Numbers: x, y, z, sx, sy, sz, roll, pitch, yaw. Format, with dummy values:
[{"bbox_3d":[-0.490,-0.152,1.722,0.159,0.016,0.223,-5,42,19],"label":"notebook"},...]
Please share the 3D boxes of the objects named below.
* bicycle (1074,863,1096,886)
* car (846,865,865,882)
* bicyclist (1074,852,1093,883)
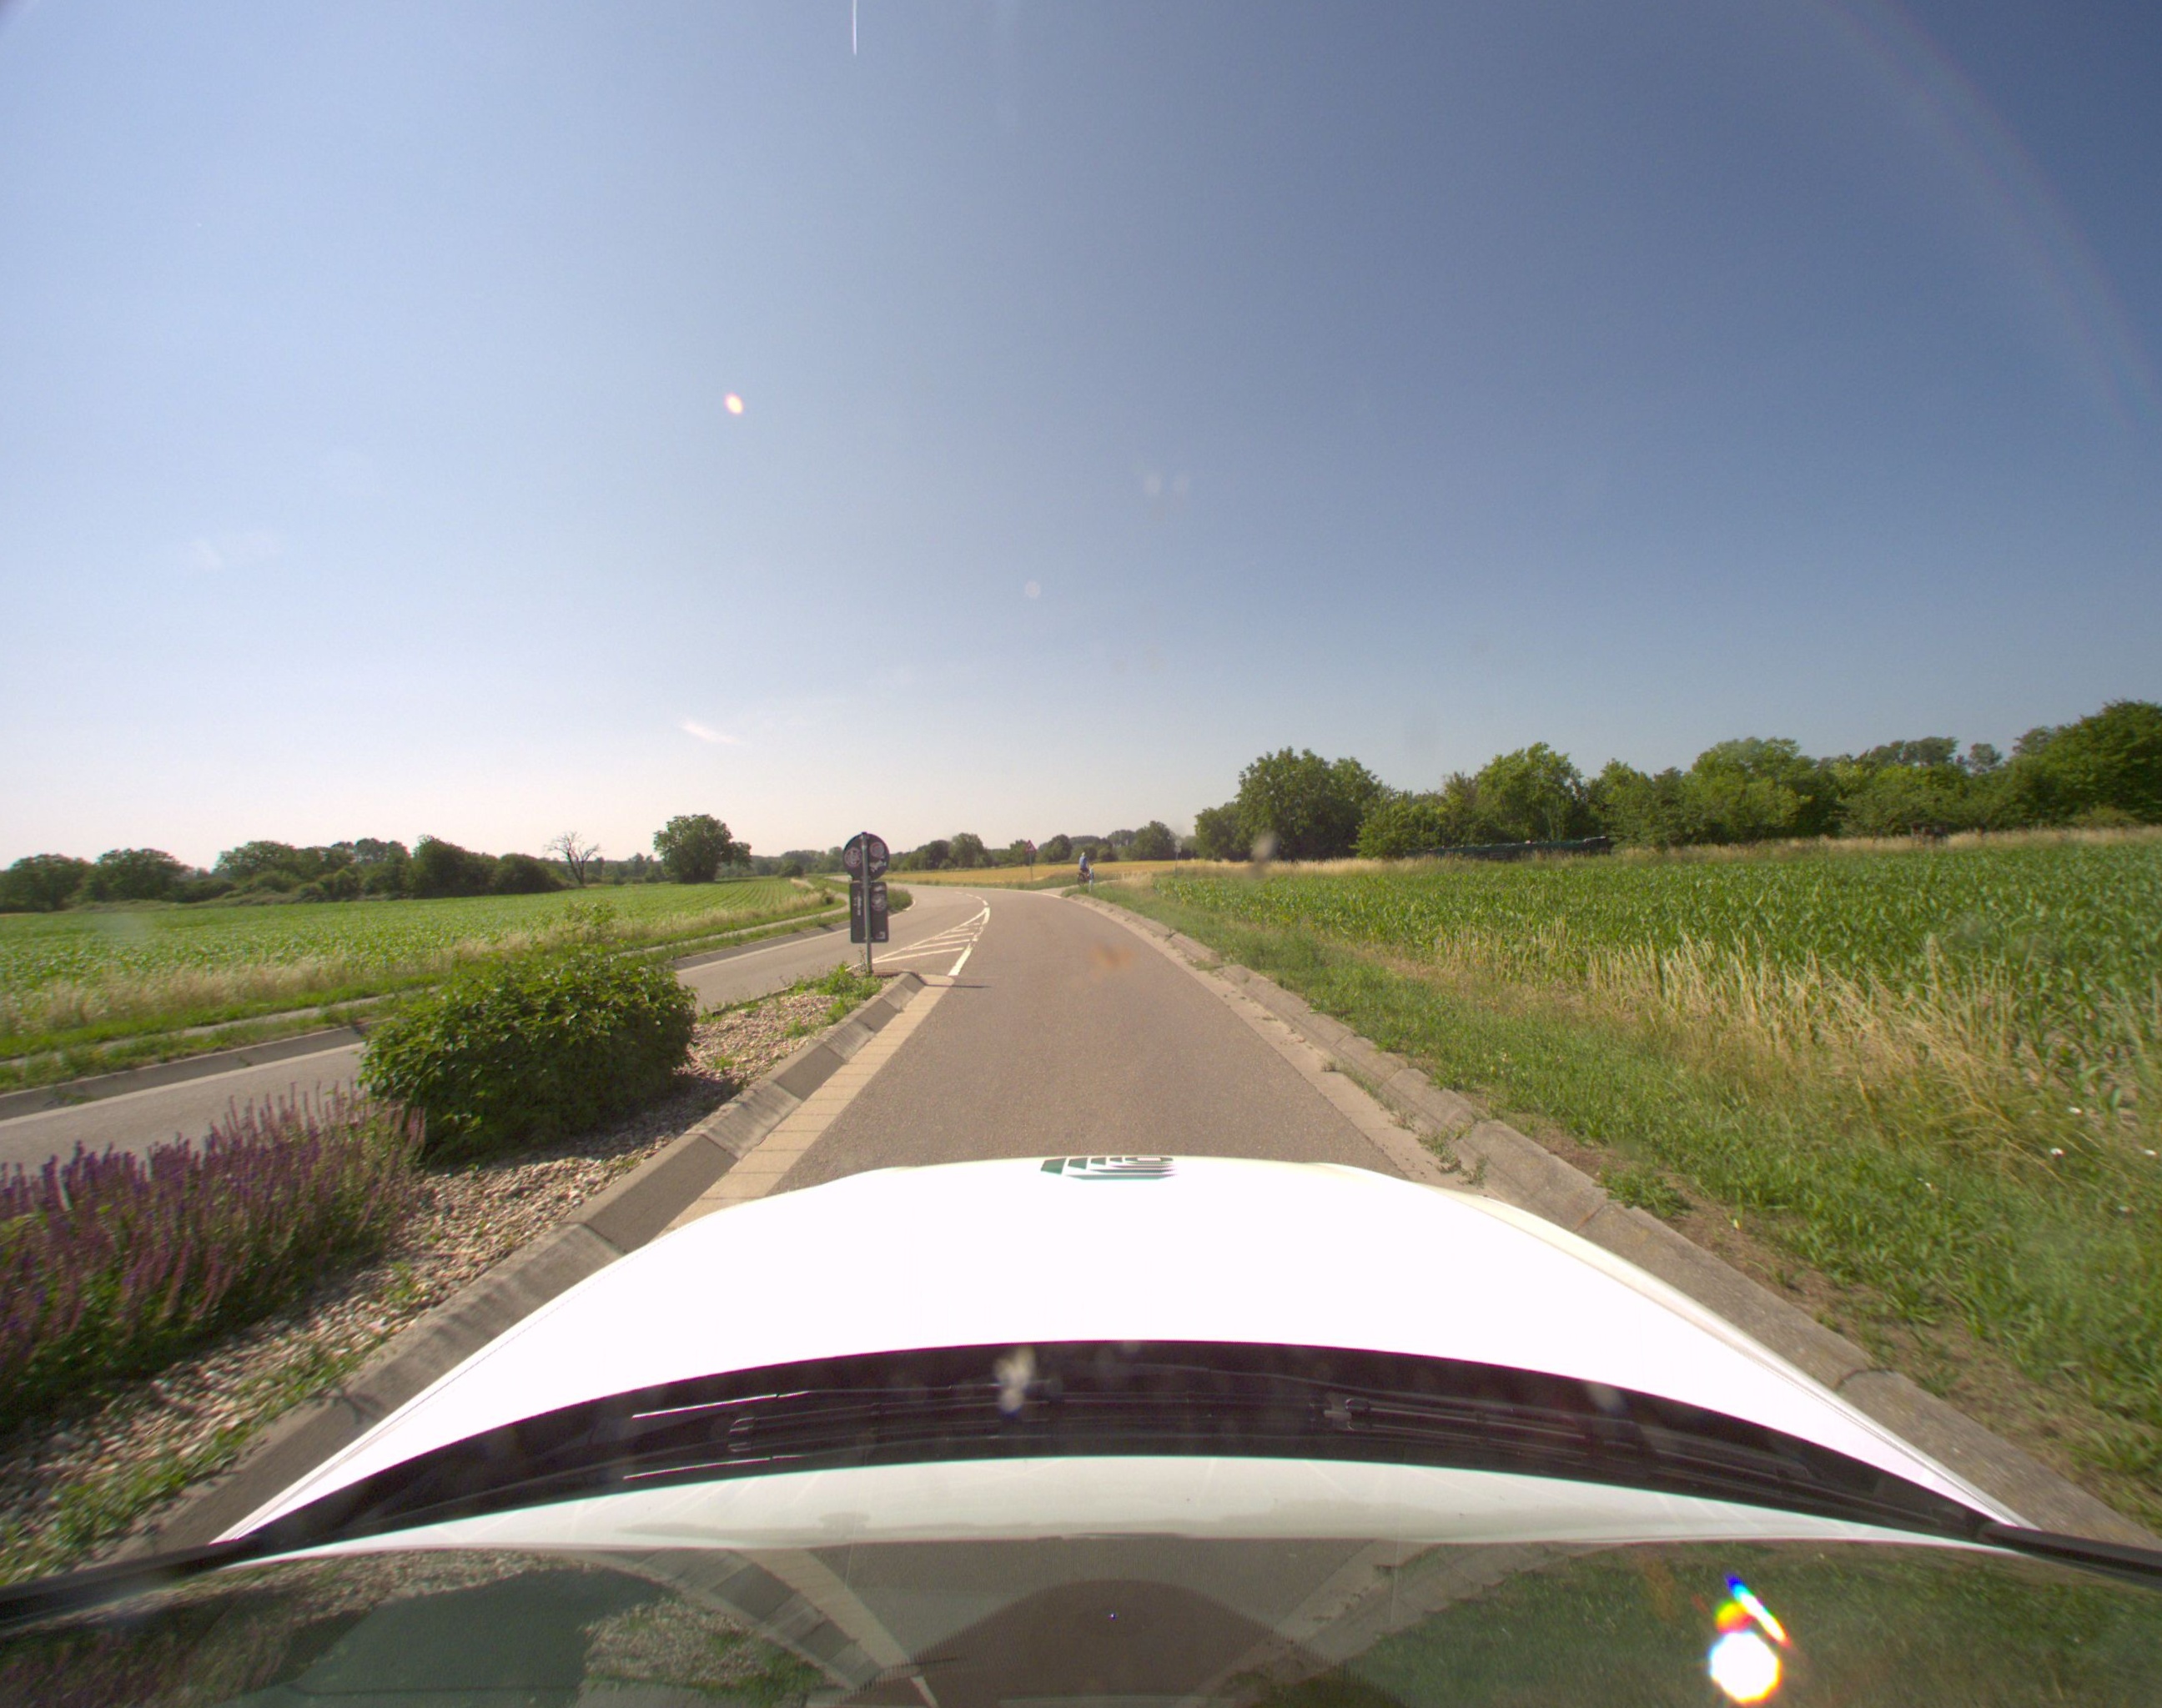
[{"bbox_3d":[0.202,1.078,42.608,0.516,1.115,1.778,-3,-1,20],"label":"bicycle"},{"bbox_3d":[-35.260,3.029,127.193,2.112,2.367,5.645,-3,0,-21],"label":"car"},{"bbox_3d":[0.139,0.688,42.550,0.667,1.574,0.739,-3,-1,20],"label":"bicyclist"}]
